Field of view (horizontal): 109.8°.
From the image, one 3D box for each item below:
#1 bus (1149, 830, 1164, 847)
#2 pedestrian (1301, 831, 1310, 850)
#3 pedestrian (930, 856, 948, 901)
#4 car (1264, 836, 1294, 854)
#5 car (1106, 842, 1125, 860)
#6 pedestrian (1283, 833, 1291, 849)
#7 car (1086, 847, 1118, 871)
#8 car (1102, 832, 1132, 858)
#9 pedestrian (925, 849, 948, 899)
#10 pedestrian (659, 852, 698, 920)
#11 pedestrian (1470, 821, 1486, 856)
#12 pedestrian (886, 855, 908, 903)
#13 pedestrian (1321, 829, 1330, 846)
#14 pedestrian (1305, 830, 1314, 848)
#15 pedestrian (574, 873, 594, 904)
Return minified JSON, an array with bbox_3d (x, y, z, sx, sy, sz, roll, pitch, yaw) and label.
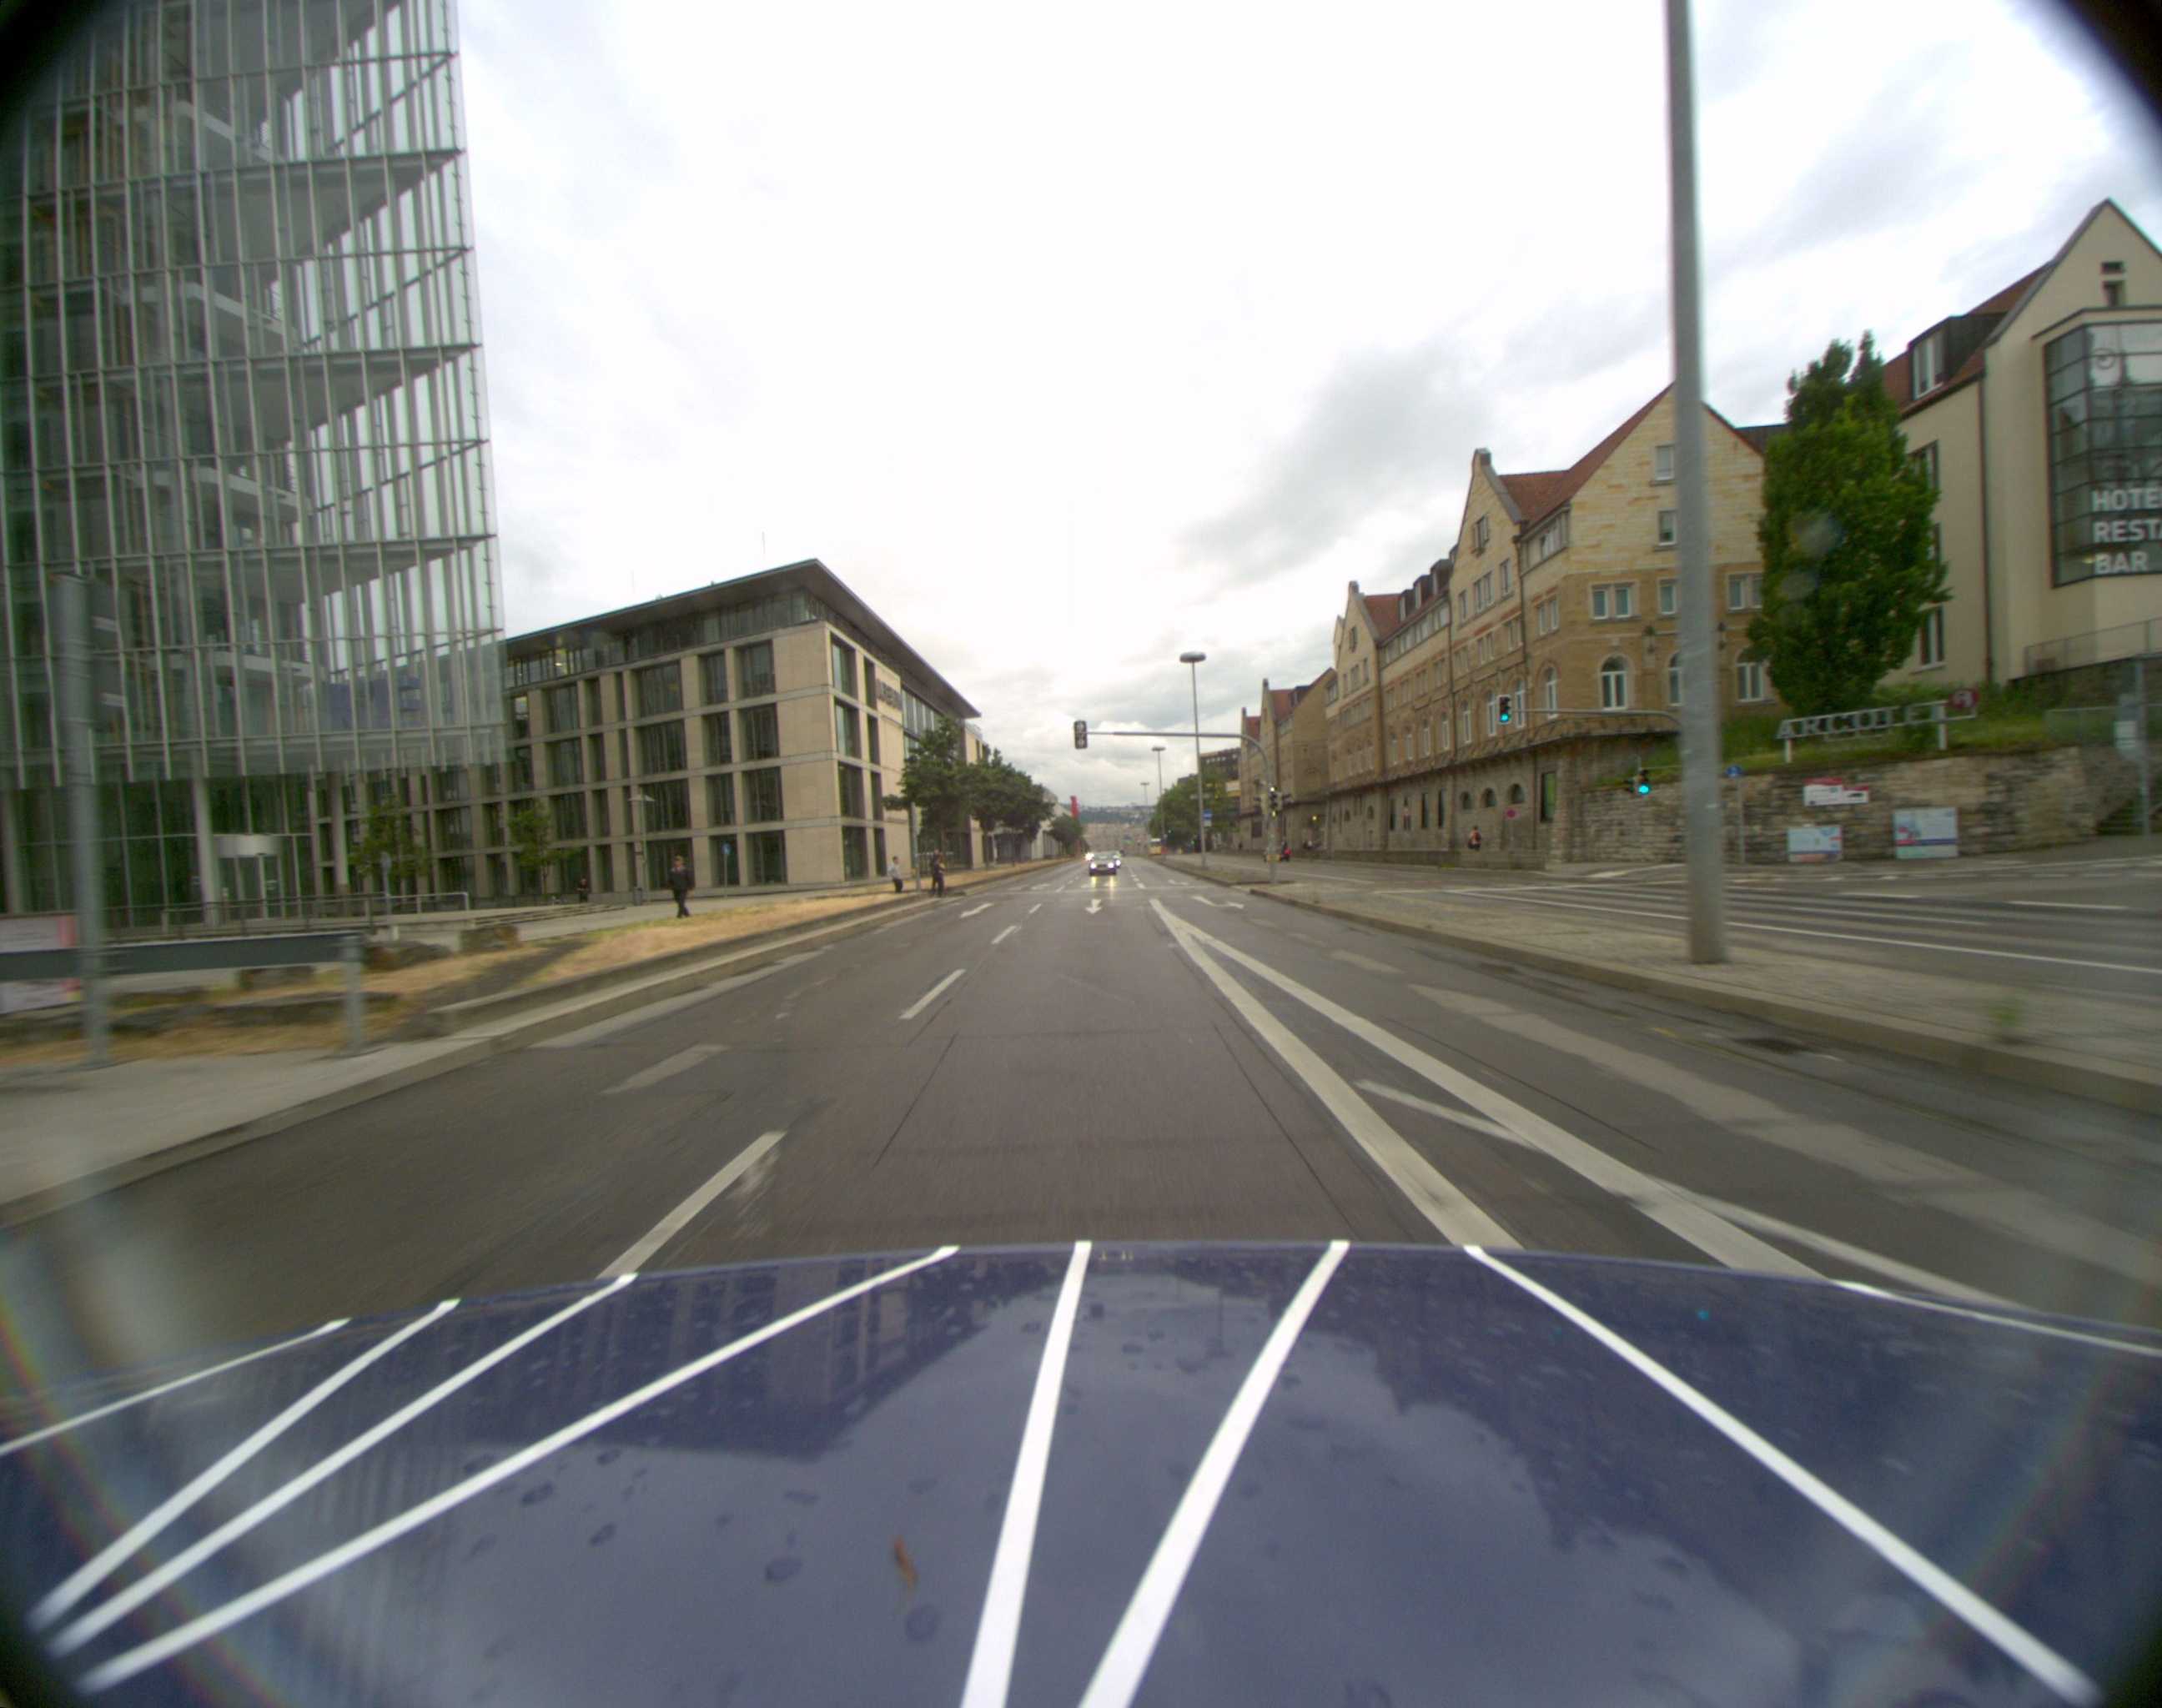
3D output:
[{"bbox_3d":[15.701,-3.214,158.401,2.499,3.321,8.444,-3,2,3],"label":"bus"},{"bbox_3d":[21.741,-1.334,73.497,0.677,1.769,0.683,-2,2,3],"label":"pedestrian"},{"bbox_3d":[-4.998,0.844,26.730,0.542,1.519,0.600,-3,2,-9],"label":"pedestrian"},{"bbox_3d":[17.253,-0.785,66.268,1.714,1.455,4.000,-3,1,3],"label":"car"},{"bbox_3d":[3.741,-0.360,82.585,1.970,1.815,3.928,-3,0,2],"label":"car"},{"bbox_3d":[23.193,-1.496,85.384,0.677,1.769,0.683,-2,2,3],"label":"pedestrian"},{"bbox_3d":[1.326,0.300,48.938,1.684,1.379,3.474,-2,2,-4],"label":"car"},{"bbox_3d":[3.035,-0.786,64.263,1.999,2.002,3.997,-2,2,-5],"label":"car"},{"bbox_3d":[-5.306,0.715,27.949,0.728,1.761,0.782,-2,2,-7],"label":"pedestrian"},{"bbox_3d":[-9.827,0.779,18.551,0.662,1.602,0.546,-4,1,-38],"label":"pedestrian"},{"bbox_3d":[20.603,-0.824,39.407,0.676,1.769,0.684,-1,3,26],"label":"pedestrian"},{"bbox_3d":[-6.300,0.867,26.050,0.461,1.589,0.656,-7,0,-9],"label":"pedestrian"},{"bbox_3d":[24.683,-1.672,76.690,0.677,1.769,0.683,-2,2,3],"label":"pedestrian"},{"bbox_3d":[23.166,-1.483,76.935,0.677,1.769,0.683,-2,2,3],"label":"pedestrian"},{"bbox_3d":[-28.676,2.007,43.826,0.634,1.735,0.635,-1,3,23],"label":"pedestrian"}]
